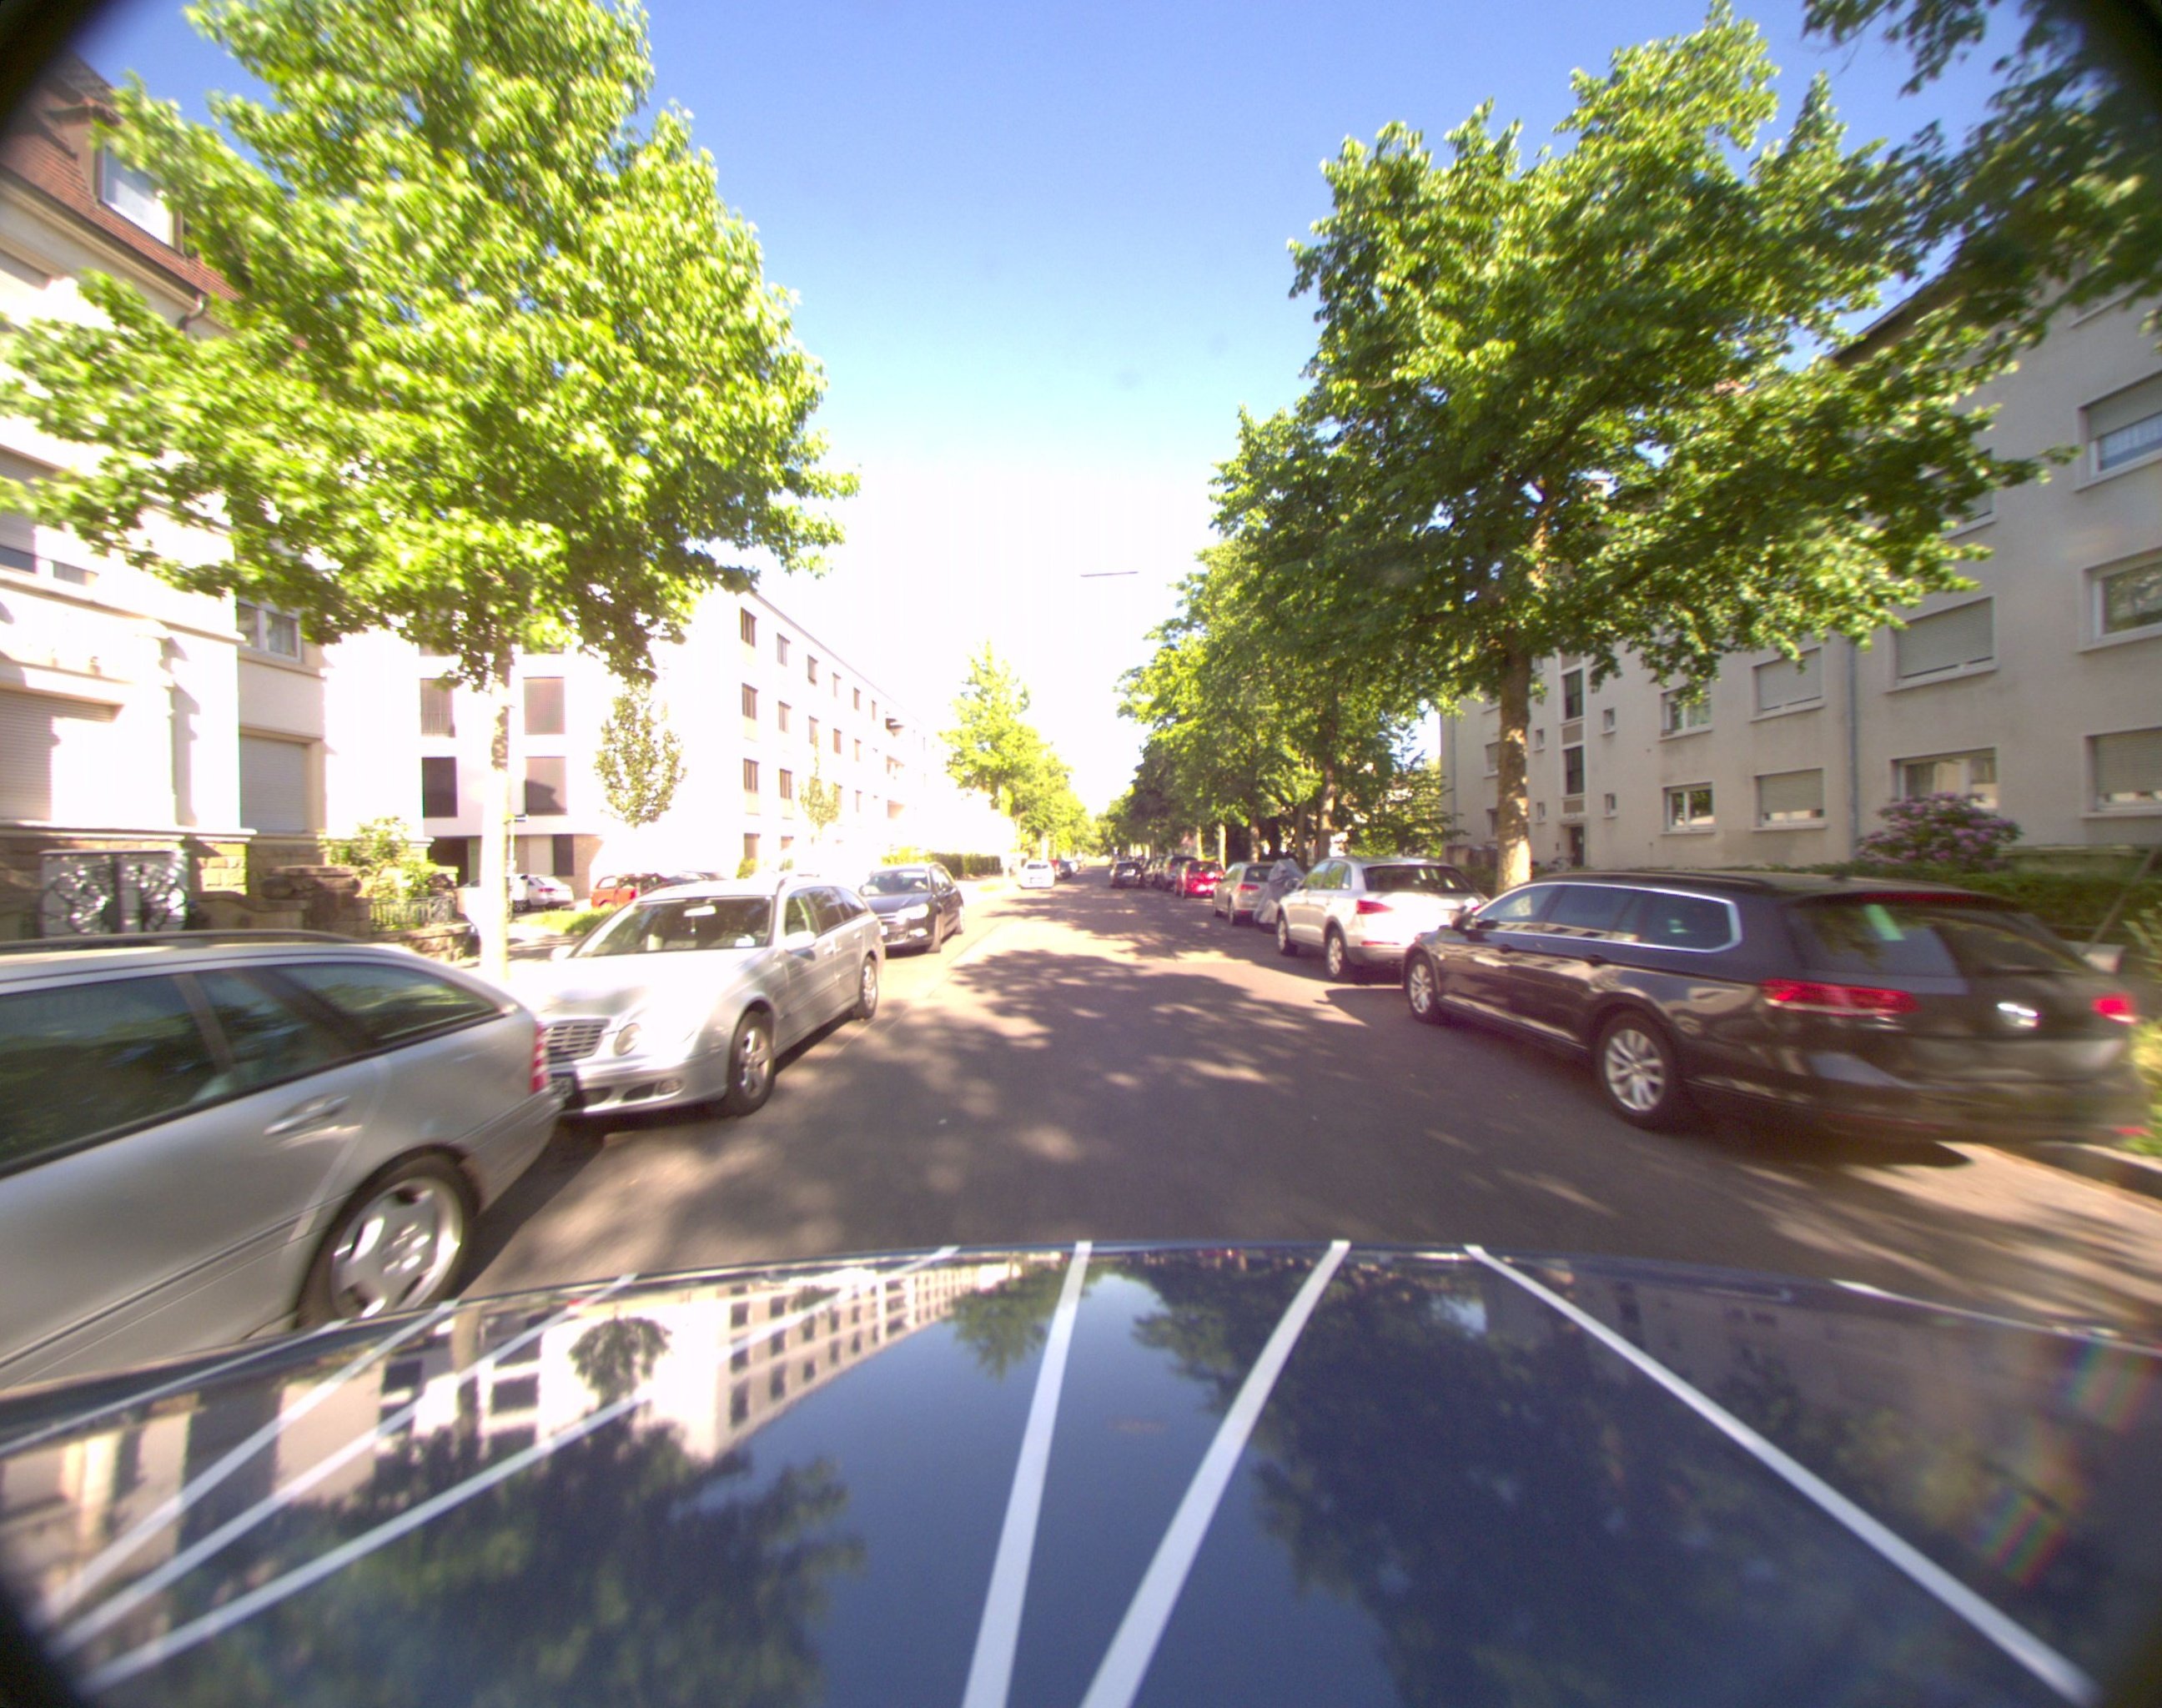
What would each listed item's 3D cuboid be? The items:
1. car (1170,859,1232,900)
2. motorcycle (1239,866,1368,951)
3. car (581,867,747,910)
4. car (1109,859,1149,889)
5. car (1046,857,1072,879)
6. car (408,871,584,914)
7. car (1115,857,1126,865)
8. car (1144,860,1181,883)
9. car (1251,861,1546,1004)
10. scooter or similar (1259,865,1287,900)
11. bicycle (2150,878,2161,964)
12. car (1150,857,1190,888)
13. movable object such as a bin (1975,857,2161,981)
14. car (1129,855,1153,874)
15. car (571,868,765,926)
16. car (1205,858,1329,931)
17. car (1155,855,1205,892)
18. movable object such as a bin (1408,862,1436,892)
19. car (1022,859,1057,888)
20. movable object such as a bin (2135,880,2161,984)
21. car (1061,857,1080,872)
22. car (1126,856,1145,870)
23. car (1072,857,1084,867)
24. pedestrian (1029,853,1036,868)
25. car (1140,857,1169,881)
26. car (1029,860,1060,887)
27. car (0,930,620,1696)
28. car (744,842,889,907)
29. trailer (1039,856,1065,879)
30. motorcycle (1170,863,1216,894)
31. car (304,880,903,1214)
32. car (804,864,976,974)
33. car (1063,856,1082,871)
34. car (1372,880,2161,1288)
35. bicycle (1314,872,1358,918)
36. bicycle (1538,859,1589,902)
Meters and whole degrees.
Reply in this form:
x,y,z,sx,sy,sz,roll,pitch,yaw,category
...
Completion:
x,y,z,sx,sy,sz,roll,pitch,yaw,category
4.664,0.958,30.023,1.861,1.461,4.182,-1,0,1,car
4.260,0.989,14.704,0.991,1.495,2.227,0,0,-39,motorcycle
-15.238,1.249,27.987,4.940,1.461,2.048,-1,0,-1,car
2.508,1.006,40.258,1.813,1.437,4.366,1,0,0,car
-1.741,1.090,61.658,1.797,1.633,4.819,-3,0,1,car
-21.332,1.396,27.869,4.940,1.420,1.962,-1,-2,0,car
6.544,1.167,126.751,1.606,1.382,3.812,-1,0,1,car
4.973,1.042,46.948,1.789,1.344,4.481,0,0,0,car
4.029,0.886,10.730,2.069,1.515,4.721,-1,0,-2,car
7.033,1.020,27.806,0.555,1.228,1.517,0,0,31,scooter or similar
13.608,0.816,8.411,0.788,1.035,1.935,-1,0,-3,bicycle
4.794,0.966,41.520,1.773,1.522,4.420,-1,0,2,car
11.728,0.704,8.871,0.932,1.316,1.378,0,0,-4,movable object such as a bin
5.437,0.950,69.249,1.846,1.647,5.087,0,0,1,car
-11.564,1.169,21.374,4.724,1.461,1.955,-1,1,15,car
4.310,0.872,18.411,2.047,1.515,4.606,0,0,2,car
4.631,0.870,36.285,1.772,1.678,4.814,0,0,0,car
12.185,0.808,27.161,0.695,1.062,0.760,-1,0,2,movable object such as a bin
-2.253,1.051,42.021,1.737,1.478,4.009,-1,0,-1,car
11.820,0.819,7.820,0.932,1.086,0.754,0,1,-4,movable object such as a bin
-1.172,1.119,81.981,1.786,1.509,4.686,-2,0,-3,car
5.680,0.947,79.574,1.798,1.443,4.489,0,0,0,car
-0.468,1.203,115.024,1.670,1.456,3.536,0,0,2,car
-6.517,0.831,101.692,0.907,2.002,1.006,0,0,2,pedestrian
4.987,1.026,52.162,1.710,1.568,4.482,0,0,2,car
-2.194,1.144,46.592,1.674,1.442,4.179,-3,0,0,car
-3.166,1.113,1.325,1.715,1.402,4.861,-2,0,0,car
-10.122,0.719,29.159,5.062,2.292,2.230,-1,0,-22,car
-2.137,0.987,56.942,1.578,1.569,3.192,-3,0,3,trailer
4.922,1.055,33.322,1.957,1.324,0.788,0,0,9,motorcycle
-2.993,1.061,6.312,1.826,1.461,4.909,-2,0,0,car
-3.251,1.022,14.071,1.900,1.515,4.966,-2,1,0,car
-0.949,1.067,87.987,1.901,1.638,4.863,-2,0,3,car
3.873,1.002,5.424,1.732,1.438,4.821,1,0,0,car
6.598,1.034,19.765,0.532,1.009,2.091,-8,-1,7,bicycle
15.061,0.803,23.756,0.399,1.281,1.914,0,0,0,bicycle
